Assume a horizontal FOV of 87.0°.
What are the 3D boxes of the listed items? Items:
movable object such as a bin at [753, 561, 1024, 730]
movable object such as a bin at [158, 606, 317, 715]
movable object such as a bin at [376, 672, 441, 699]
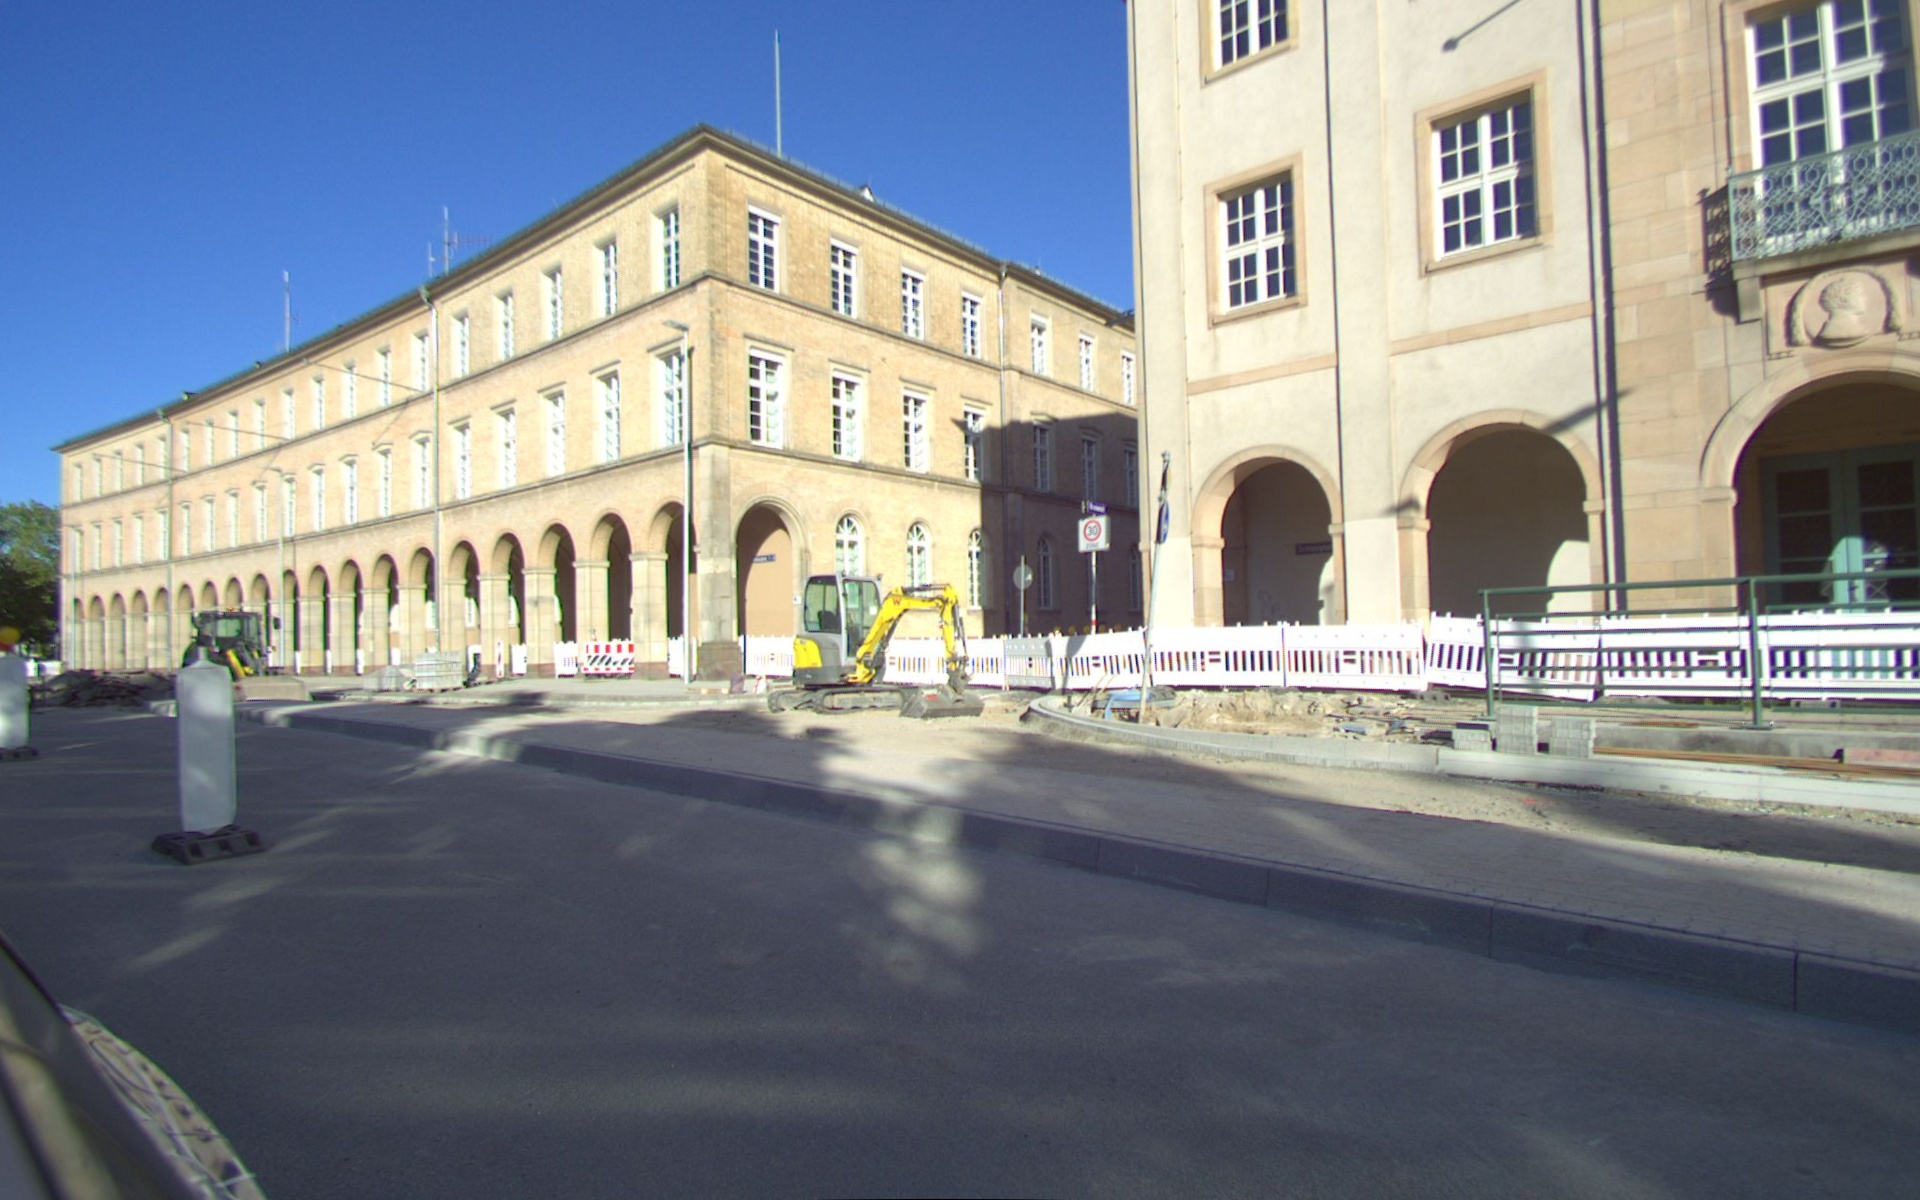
[{"bbox_3d":[-1.261,0.751,16.688,4.307,2.414,2.076,-2,-4,43],"label":"movable object such as a bin"},{"bbox_3d":[-17.829,1.493,24.907,4.526,2.472,1.775,-3,-4,35],"label":"movable object such as a bin"},{"bbox_3d":[-15.436,2.372,28.319,1.238,0.703,1.176,-3,-4,36],"label":"movable object such as a bin"}]
